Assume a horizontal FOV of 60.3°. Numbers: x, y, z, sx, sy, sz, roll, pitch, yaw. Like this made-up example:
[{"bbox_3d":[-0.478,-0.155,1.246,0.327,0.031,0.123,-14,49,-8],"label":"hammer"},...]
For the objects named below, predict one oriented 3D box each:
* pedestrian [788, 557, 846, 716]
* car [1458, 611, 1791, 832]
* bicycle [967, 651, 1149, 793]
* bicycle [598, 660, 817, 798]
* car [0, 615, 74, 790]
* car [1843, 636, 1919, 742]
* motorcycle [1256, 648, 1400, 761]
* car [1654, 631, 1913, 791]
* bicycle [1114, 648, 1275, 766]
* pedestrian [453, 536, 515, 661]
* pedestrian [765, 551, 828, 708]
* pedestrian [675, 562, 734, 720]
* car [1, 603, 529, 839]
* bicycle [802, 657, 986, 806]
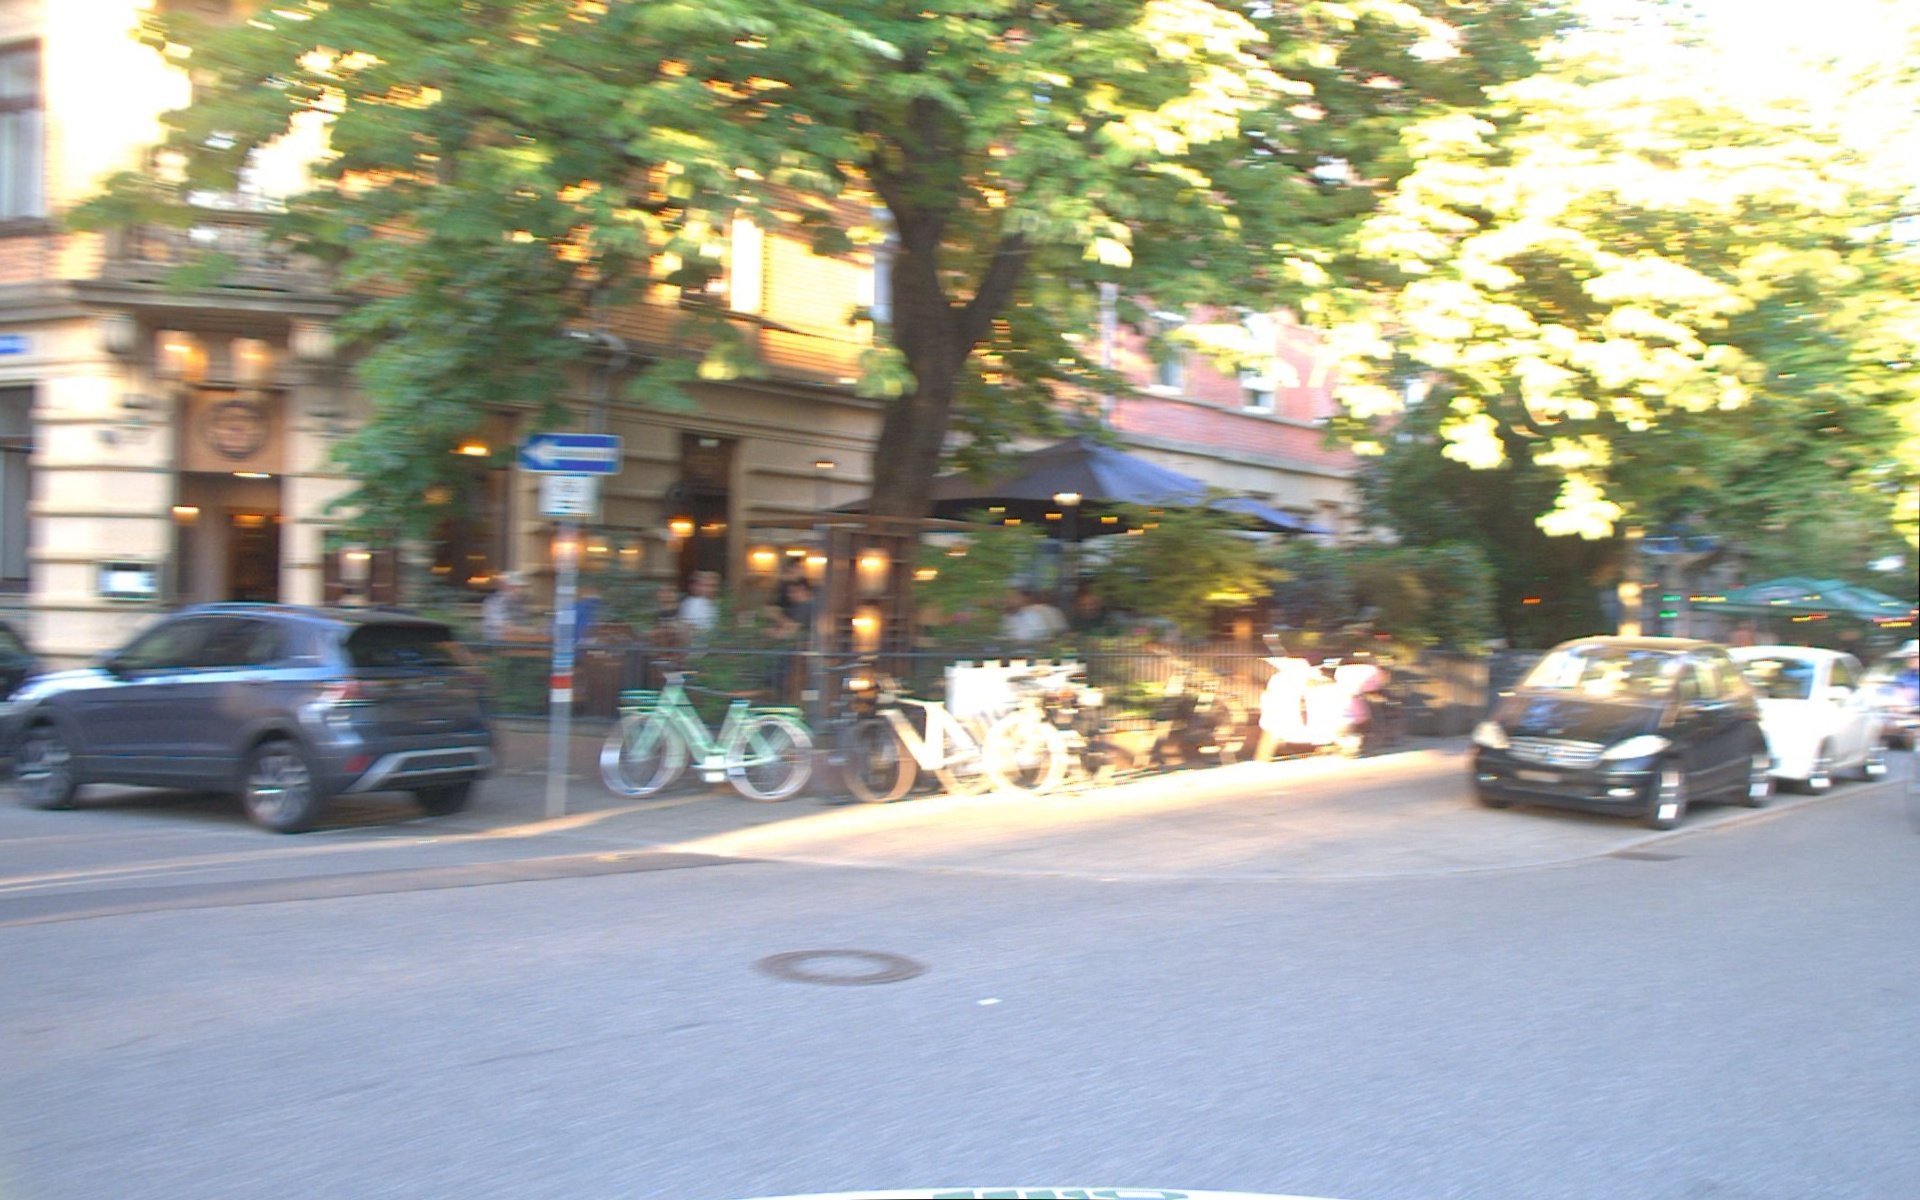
[{"bbox_3d":[-1.342,0.335,15.564,0.419,1.476,0.464,0,0,12],"label":"pedestrian"},{"bbox_3d":[6.290,1.022,15.441,1.640,1.706,3.824,4,2,42],"label":"car"},{"bbox_3d":[0.931,1.090,15.234,1.941,1.206,0.386,2,2,-43],"label":"bicycle"},{"bbox_3d":[-2.128,1.078,14.002,1.784,1.117,0.393,0,0,5],"label":"bicycle"},{"bbox_3d":[-9.770,0.864,14.892,3.256,1.484,1.466,1,0,24],"label":"car"},{"bbox_3d":[15.216,1.349,25.736,1.811,1.435,4.580,4,2,38],"label":"car"},{"bbox_3d":[4.169,1.161,18.664,1.935,1.206,0.387,2,0,-37],"label":"motorcycle"},{"bbox_3d":[9.416,1.167,18.786,1.641,1.519,3.687,4,2,42],"label":"car"},{"bbox_3d":[2.488,1.117,17.403,1.935,1.163,0.387,3,1,-37],"label":"bicycle"},{"bbox_3d":[-5.563,-0.019,19.337,0.513,1.437,0.463,0,0,29],"label":"pedestrian"},{"bbox_3d":[-1.642,0.291,16.638,0.511,1.546,0.464,0,0,12],"label":"pedestrian"},{"bbox_3d":[-2.432,0.383,15.761,0.419,1.476,0.464,0,0,12],"label":"pedestrian"},{"bbox_3d":[-5.331,0.818,12.674,3.769,1.572,1.632,0,0,25],"label":"car"},{"bbox_3d":[-0.537,1.084,14.055,1.732,1.164,0.386,1,0,-43],"label":"bicycle"}]
